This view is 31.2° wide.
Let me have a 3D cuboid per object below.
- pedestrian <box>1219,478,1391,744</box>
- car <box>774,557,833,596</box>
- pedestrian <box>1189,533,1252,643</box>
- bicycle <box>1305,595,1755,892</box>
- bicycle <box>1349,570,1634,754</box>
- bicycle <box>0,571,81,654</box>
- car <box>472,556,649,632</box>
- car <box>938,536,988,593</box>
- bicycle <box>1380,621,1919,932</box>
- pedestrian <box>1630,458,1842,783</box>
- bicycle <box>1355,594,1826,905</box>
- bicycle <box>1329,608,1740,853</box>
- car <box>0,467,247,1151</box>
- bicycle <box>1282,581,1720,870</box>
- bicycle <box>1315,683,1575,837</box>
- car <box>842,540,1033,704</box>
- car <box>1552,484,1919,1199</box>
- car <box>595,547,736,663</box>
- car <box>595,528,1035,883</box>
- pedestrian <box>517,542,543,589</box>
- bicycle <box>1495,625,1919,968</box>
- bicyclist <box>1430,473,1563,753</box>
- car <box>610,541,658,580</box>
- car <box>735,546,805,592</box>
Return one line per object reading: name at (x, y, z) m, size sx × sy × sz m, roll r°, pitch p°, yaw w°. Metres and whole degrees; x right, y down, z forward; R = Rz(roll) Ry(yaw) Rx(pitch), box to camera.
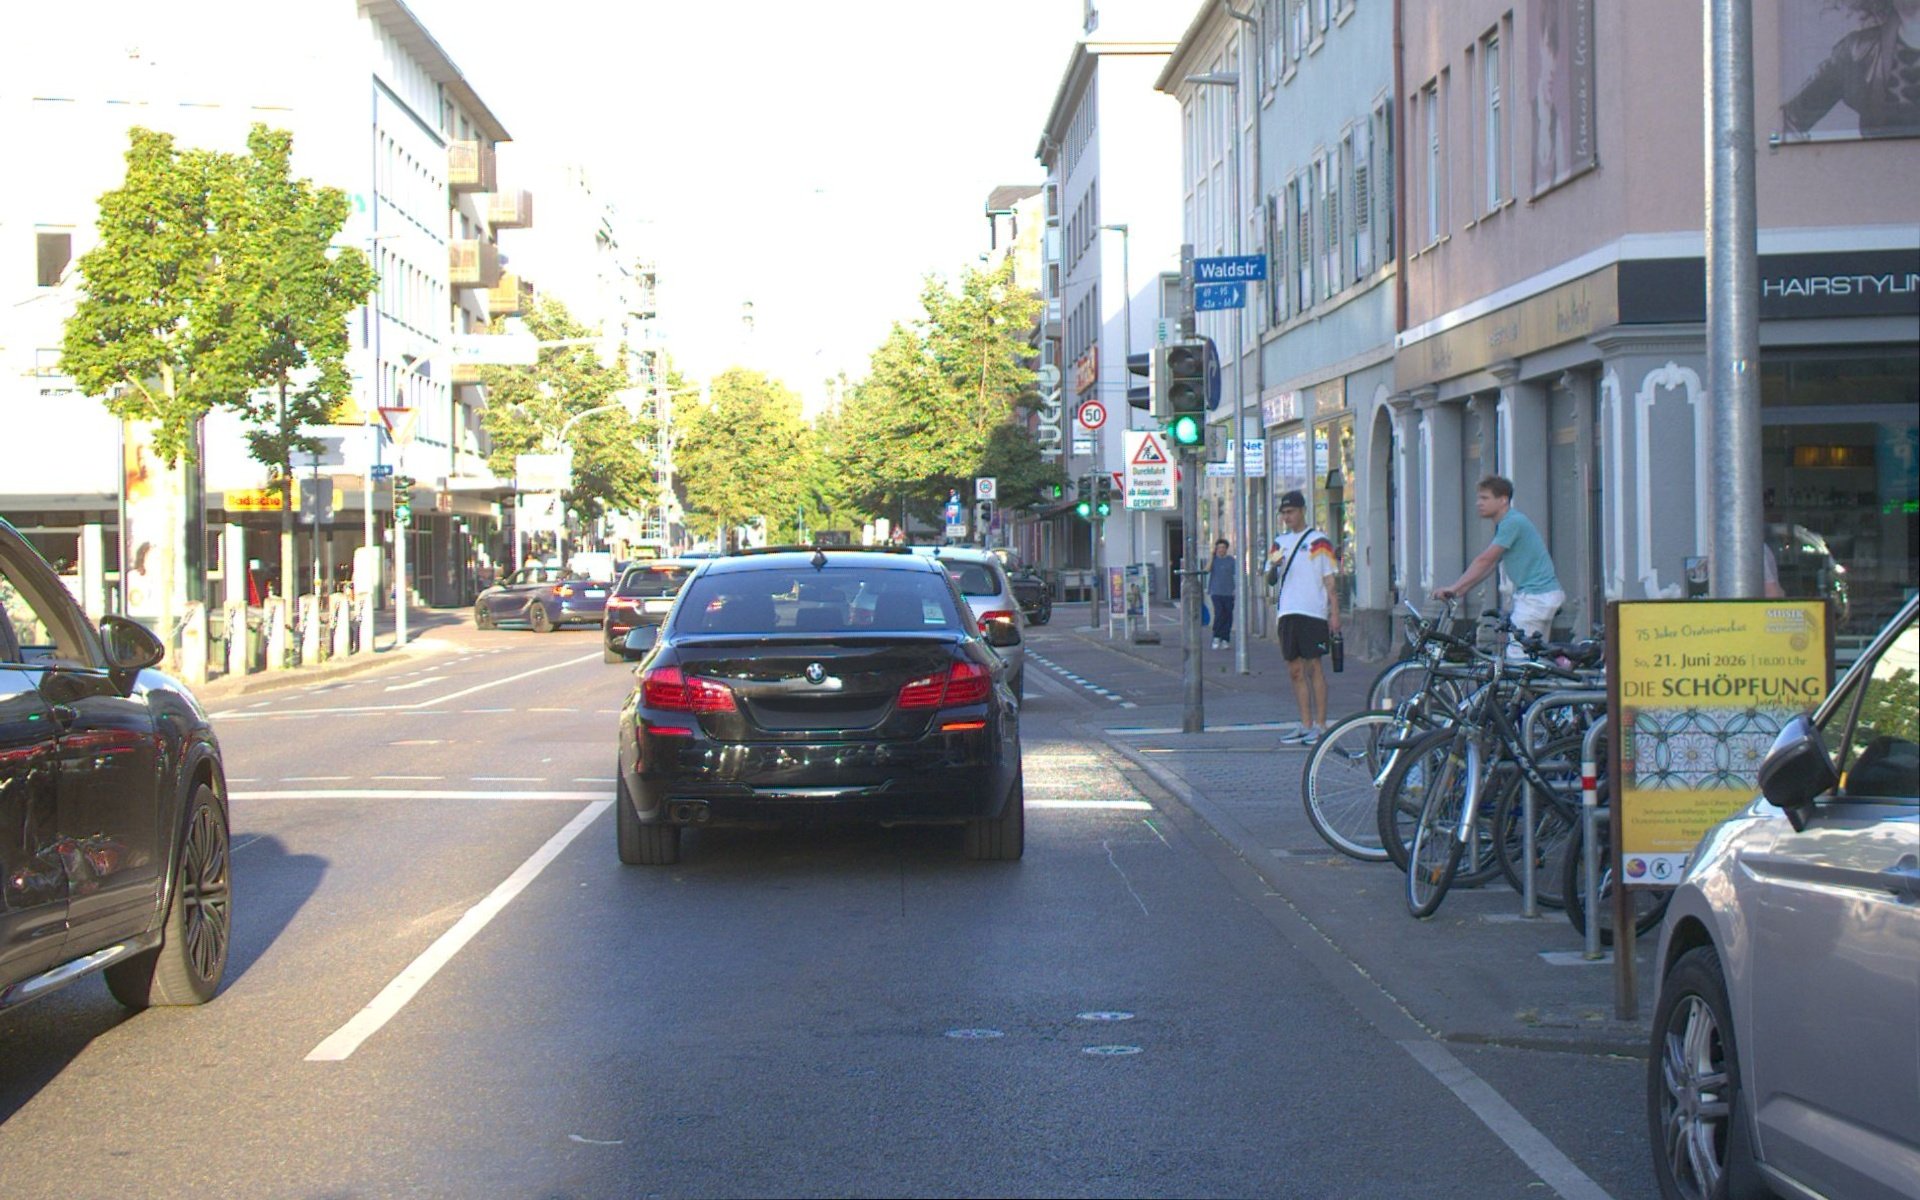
pedestrian at (2.504, 0.070, 25.012) m, size 0.937 × 1.891 × 0.826 m, roll -1°, pitch 1°, yaw -26°
car at (-5.345, -0.805, 117.098) m, size 1.733 × 1.288 × 4.001 m, roll 0°, pitch 1°, yaw -7°
pedestrian at (3.941, -0.184, 52.049) m, size 0.823 × 1.636 × 0.871 m, roll -1°, pitch 1°, yaw -3°
bicycle at (2.448, 0.597, 14.812) m, size 1.781 × 1.169 × 0.622 m, roll -2°, pitch 1°, yaw -12°
bicycle at (3.515, 0.406, 22.785) m, size 1.820 × 1.182 × 0.793 m, roll -1°, pitch 1°, yaw 8°
bicycle at (-14.914, 0.197, 53.157) m, size 2.443 × 1.252 × 0.787 m, roll -1°, pitch 1°, yaw 1°
car at (-8.234, -0.147, 70.642) m, size 1.994 × 1.481 × 4.000 m, roll -1°, pitch 1°, yaw -34°
car at (0.085, -1.174, 113.625) m, size 1.421 × 1.848 × 3.053 m, roll 1°, pitch 0°, yaw -4°
bicycle at (2.788, 0.656, 13.232) m, size 2.169 × 1.071 × 0.806 m, roll -1°, pitch 1°, yaw -7°
pedestrian at (4.061, 0.095, 17.983) m, size 0.791 × 1.647 × 0.778 m, roll 0°, pitch 1°, yaw 42°
bicycle at (2.594, 0.594, 14.181) m, size 1.781 × 1.169 × 0.622 m, roll -2°, pitch 1°, yaw -12°
bicycle at (2.749, 0.607, 16.501) m, size 1.781 × 1.060 × 0.719 m, roll -2°, pitch 1°, yaw -12°
car at (-3.393, 0.518, 9.452) m, size 1.948 × 1.708 × 4.562 m, roll -1°, pitch 1°, yaw -1°
bicycle at (2.435, 0.551, 15.559) m, size 1.843 × 1.235 × 0.639 m, roll -1°, pitch 1°, yaw -6°
bicycle at (2.401, 0.786, 17.138) m, size 1.004 × 0.679 × 1.051 m, roll -1°, pitch 1°, yaw -10°
car at (-0.210, 0.176, 35.043) m, size 1.832 × 1.570 × 4.100 m, roll 0°, pitch 1°, yaw 0°
car at (2.376, 0.612, 5.889) m, size 1.697 × 1.611 × 4.683 m, roll 0°, pitch 1°, yaw -3°
car at (-4.200, 0.035, 49.548) m, size 1.872 × 1.590 × 4.450 m, roll 0°, pitch 1°, yaw -3°
car at (-0.715, 0.414, 17.091) m, size 1.903 × 1.535 × 4.450 m, roll 0°, pitch 1°, yaw -2°
pedestrian at (-15.085, -1.212, 120.647) m, size 0.823 × 1.671 × 0.871 m, roll 0°, pitch 1°, yaw -2°
bicycle at (2.898, 0.672, 12.234) m, size 1.844 × 1.119 × 0.595 m, roll -2°, pitch 0°, yaw -12°
bicyclist at (3.546, 0.081, 22.779) m, size 0.833 × 1.820 × 0.831 m, roll 0°, pitch 1°, yaw 7°
car at (-12.493, -1.531, 131.711) m, size 1.733 × 1.456 × 4.001 m, roll 0°, pitch 1°, yaw -7°
car at (-6.122, -0.997, 110.312) m, size 1.993 × 1.437 × 4.001 m, roll 0°, pitch 1°, yaw -7°
